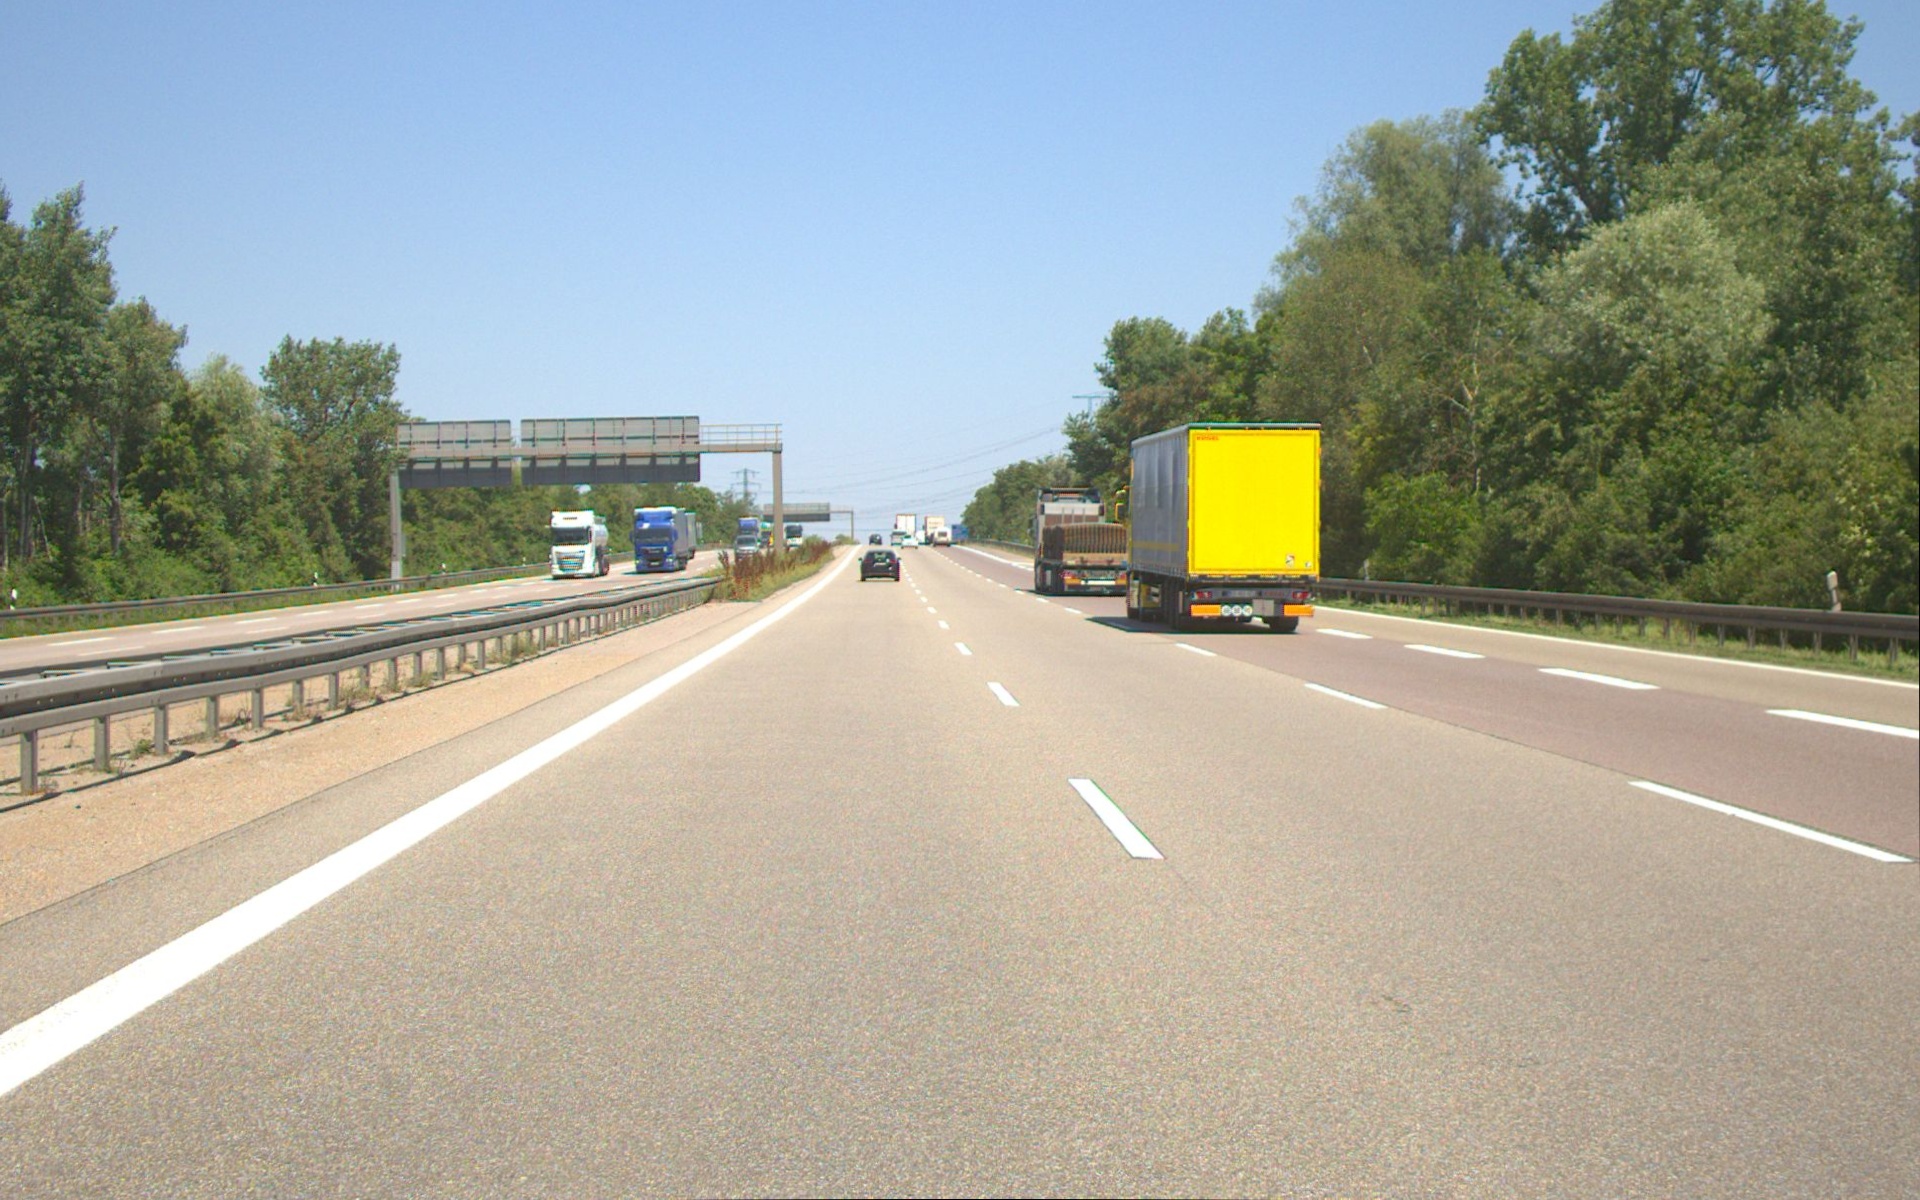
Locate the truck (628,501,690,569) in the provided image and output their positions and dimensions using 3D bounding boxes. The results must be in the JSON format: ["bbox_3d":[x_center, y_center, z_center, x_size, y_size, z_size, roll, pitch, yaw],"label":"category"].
[{"bbox_3d":[-19.692,-4.245,225.639,2.955,4.231,17.183,-1,1,-2],"label":"truck"}]

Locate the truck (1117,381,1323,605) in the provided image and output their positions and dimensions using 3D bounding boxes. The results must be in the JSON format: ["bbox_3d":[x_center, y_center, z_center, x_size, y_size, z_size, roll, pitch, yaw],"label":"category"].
[{"bbox_3d":[5.343,-2.134,74.010,2.845,4.243,16.792,-1,1,-1],"label":"truck"}]

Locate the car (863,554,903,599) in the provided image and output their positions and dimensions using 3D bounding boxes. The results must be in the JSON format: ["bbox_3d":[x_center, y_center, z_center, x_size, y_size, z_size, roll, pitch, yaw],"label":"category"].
[{"bbox_3d":[-3.528,-1.093,157.410,1.791,2.007,3.888,1,0,-1],"label":"car"}]

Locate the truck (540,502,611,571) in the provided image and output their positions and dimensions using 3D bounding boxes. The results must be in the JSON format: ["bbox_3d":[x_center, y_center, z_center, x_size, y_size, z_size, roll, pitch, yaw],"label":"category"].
[{"bbox_3d":[-23.675,-3.915,212.378,2.955,4.004,15.822,-1,1,-2],"label":"truck"}]

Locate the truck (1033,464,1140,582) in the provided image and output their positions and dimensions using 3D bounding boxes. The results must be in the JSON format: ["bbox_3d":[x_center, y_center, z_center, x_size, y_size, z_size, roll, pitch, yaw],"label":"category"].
[{"bbox_3d":[4.458,-2.684,124.332,2.969,3.943,16.614,1,1,-1],"label":"truck"}]
